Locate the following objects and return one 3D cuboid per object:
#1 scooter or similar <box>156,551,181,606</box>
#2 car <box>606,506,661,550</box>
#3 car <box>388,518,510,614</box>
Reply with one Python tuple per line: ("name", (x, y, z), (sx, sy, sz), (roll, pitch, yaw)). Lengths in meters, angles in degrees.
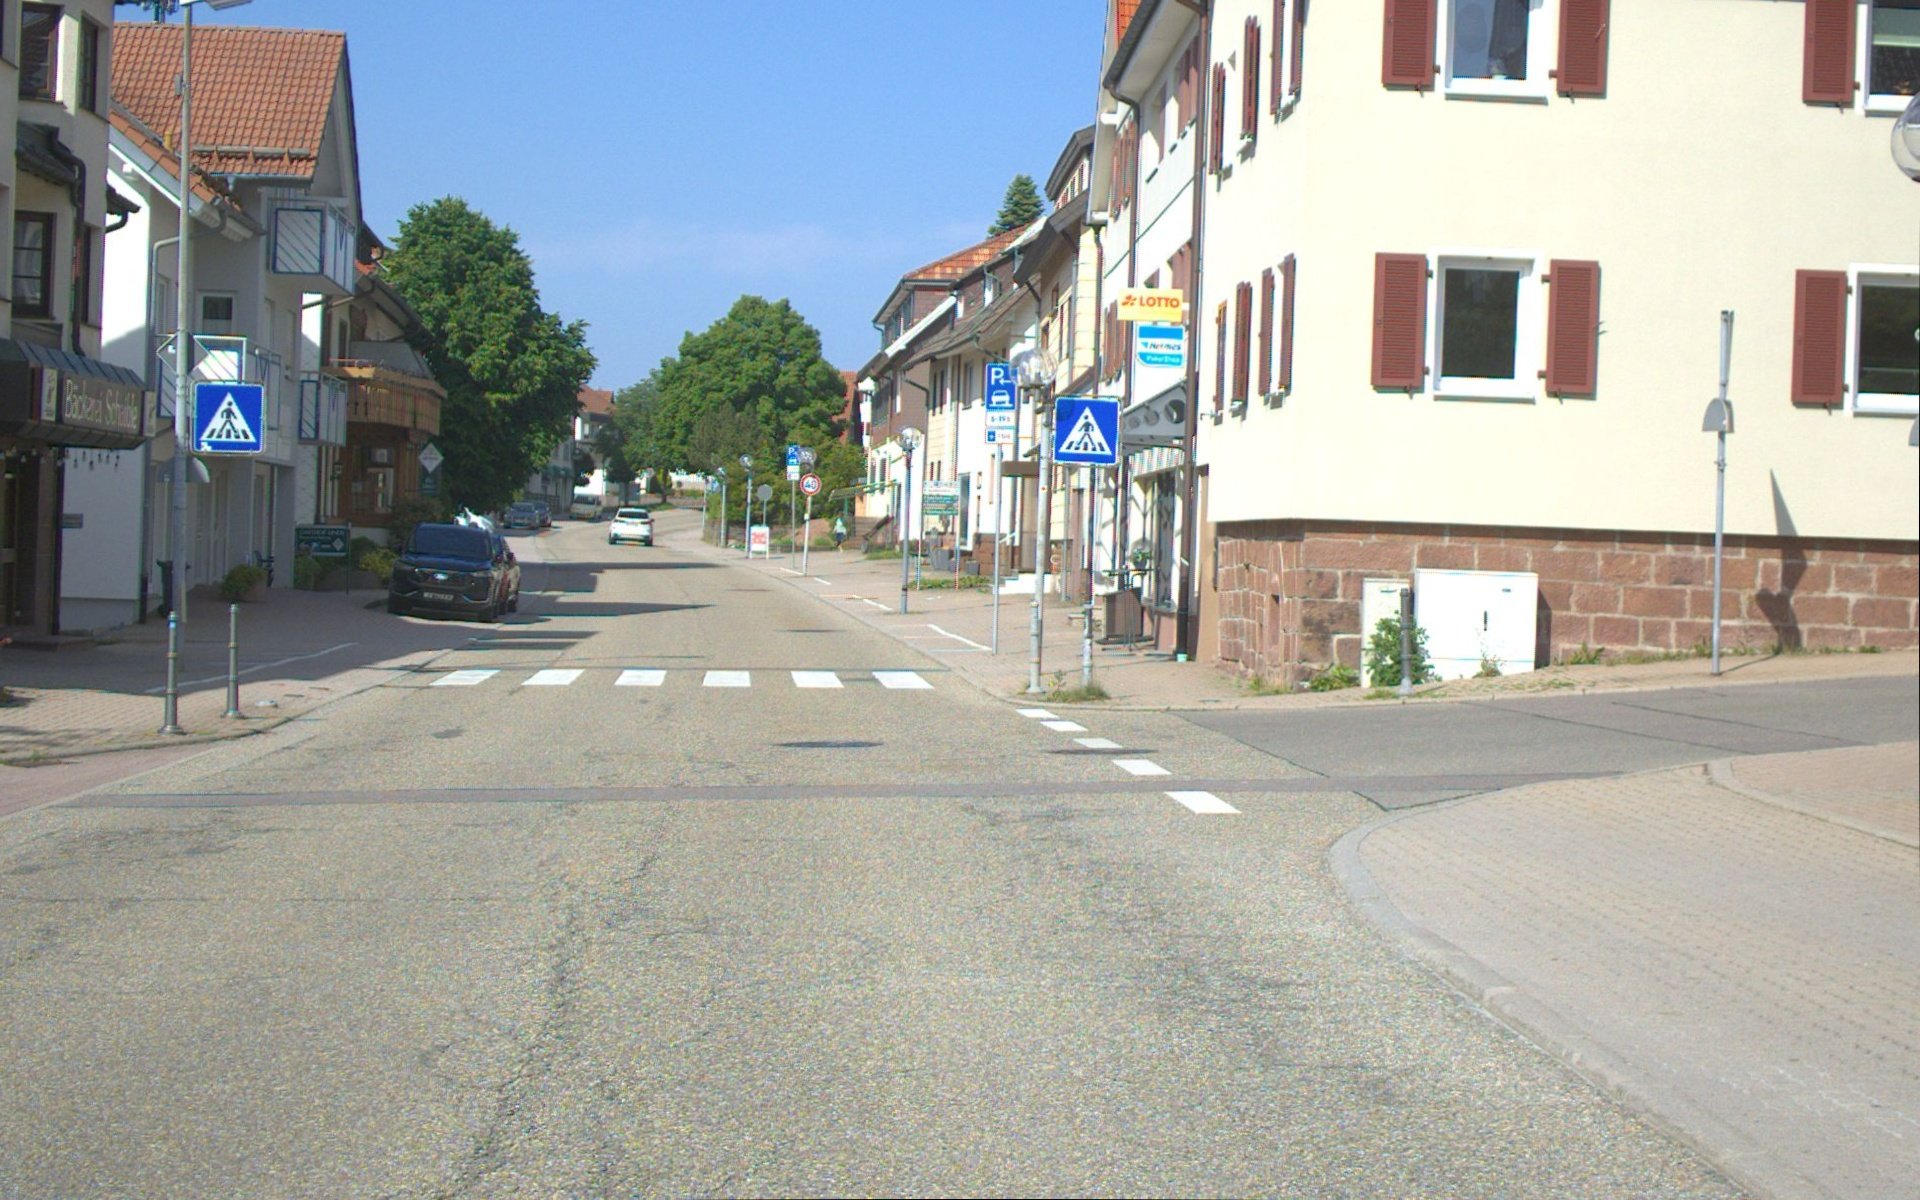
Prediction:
("scooter or similar", (-12.845, -0.355, 55.761), (0.351, 0.887, 0.395), (-1, 1, -9))
("car", (-15.288, -3.364, 161.251), (2.495, 2.007, 4.305), (-1, 1, -5))
("car", (-9.083, -0.627, 61.314), (1.672, 1.528, 3.536), (5, 1, -3))
